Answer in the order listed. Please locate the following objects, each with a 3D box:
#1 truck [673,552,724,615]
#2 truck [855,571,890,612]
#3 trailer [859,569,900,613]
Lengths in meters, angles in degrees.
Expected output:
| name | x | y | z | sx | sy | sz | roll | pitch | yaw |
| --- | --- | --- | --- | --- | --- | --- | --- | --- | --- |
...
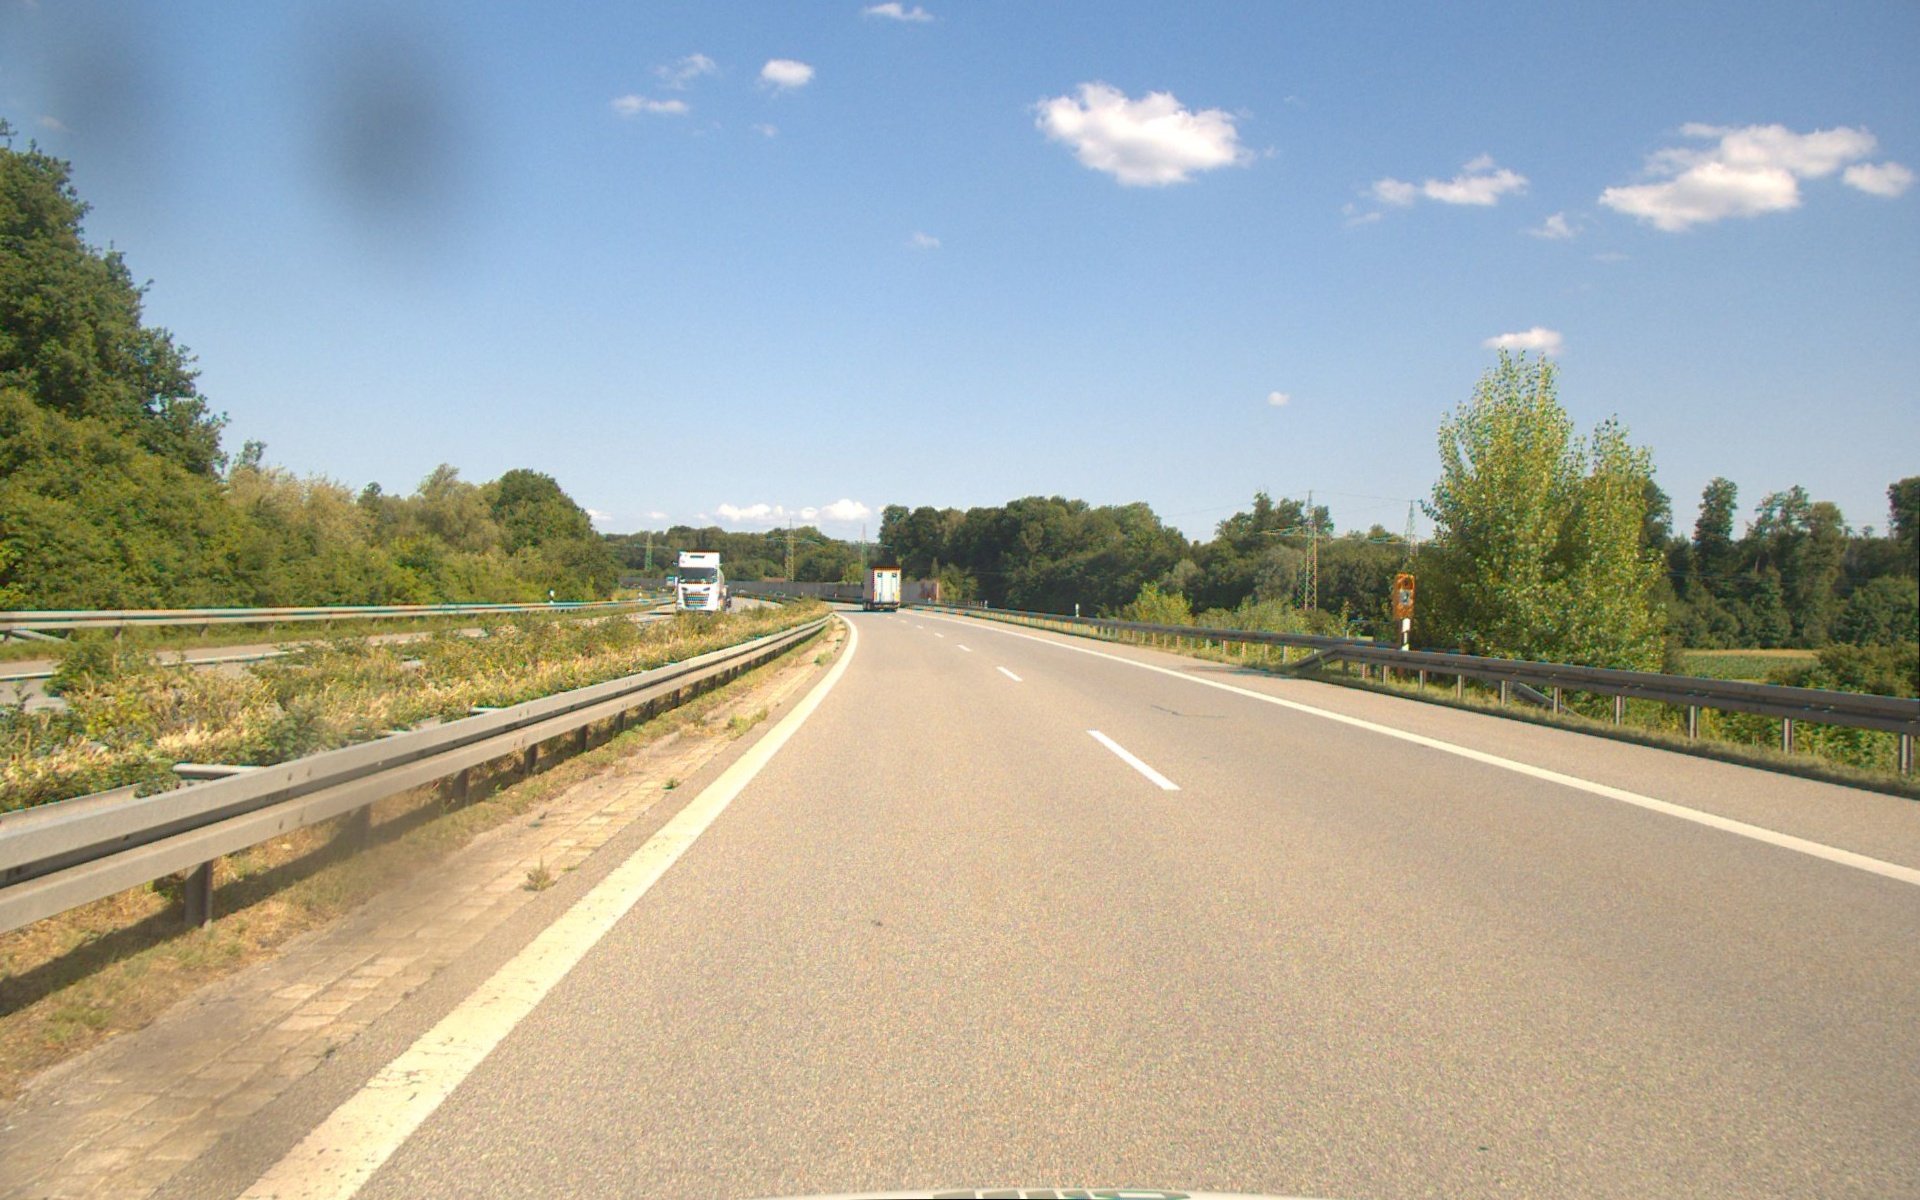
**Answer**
| name | x | y | z | sx | sy | sz | roll | pitch | yaw |
| --- | --- | --- | --- | --- | --- | --- | --- | --- | --- |
| truck | -16.203 | -1.012 | 102.841 | 2.687 | 3.792 | 5.966 | 0 | 0 | -5 |
| truck | -8.974 | -0.897 | 168.937 | 2.779 | 4.082 | 6.571 | 0 | 0 | -10 |
| trailer | -7.984 | -0.923 | 162.298 | 2.831 | 4.137 | 12.396 | 0 | 0 | -9 |
